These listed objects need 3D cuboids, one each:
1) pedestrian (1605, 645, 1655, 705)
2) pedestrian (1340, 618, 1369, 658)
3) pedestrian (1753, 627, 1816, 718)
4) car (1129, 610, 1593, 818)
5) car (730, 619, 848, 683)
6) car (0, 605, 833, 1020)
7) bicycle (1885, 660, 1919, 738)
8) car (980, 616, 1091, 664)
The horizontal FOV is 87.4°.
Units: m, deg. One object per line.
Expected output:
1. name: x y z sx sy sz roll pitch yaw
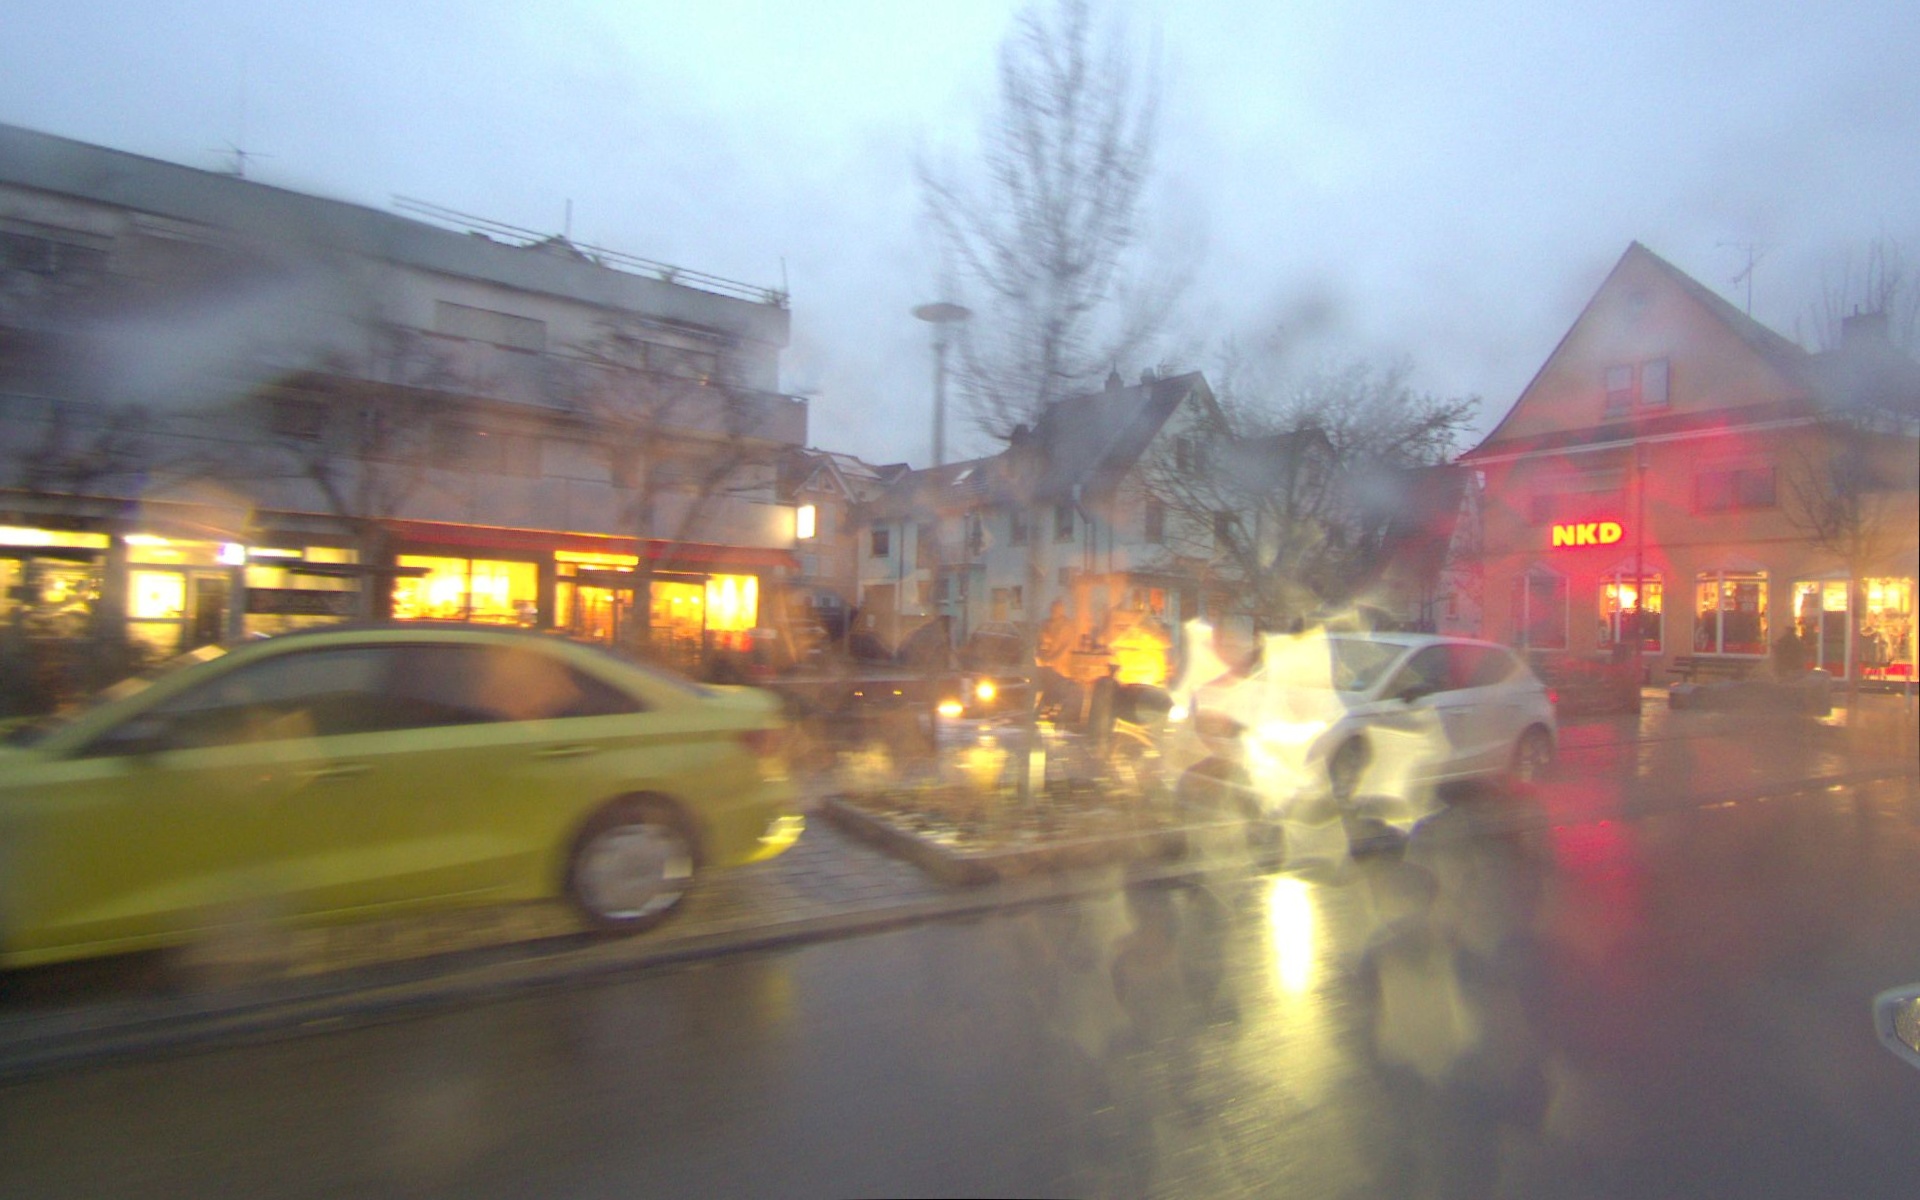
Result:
1. pedestrian: 14.858 1.650 22.285 0.673 1.262 0.826 2 0 17
2. pedestrian: 17.221 1.647 43.880 0.834 1.738 0.909 1 -2 -41
3. pedestrian: 19.124 1.659 23.319 0.721 2.040 0.826 2 0 4
4. car: 3.752 0.919 9.247 4.133 1.508 1.776 2 0 -30
5. car: -5.424 1.569 31.490 1.983 1.868 3.956 2 -3 -39
6. car: -2.948 0.789 4.836 4.325 1.451 1.686 1 0 -30
7. bicycle: 14.471 1.493 15.347 1.733 1.075 0.321 0 -5 -45
8. car: 2.662 1.414 36.315 1.965 1.624 3.961 2 -2 -35
